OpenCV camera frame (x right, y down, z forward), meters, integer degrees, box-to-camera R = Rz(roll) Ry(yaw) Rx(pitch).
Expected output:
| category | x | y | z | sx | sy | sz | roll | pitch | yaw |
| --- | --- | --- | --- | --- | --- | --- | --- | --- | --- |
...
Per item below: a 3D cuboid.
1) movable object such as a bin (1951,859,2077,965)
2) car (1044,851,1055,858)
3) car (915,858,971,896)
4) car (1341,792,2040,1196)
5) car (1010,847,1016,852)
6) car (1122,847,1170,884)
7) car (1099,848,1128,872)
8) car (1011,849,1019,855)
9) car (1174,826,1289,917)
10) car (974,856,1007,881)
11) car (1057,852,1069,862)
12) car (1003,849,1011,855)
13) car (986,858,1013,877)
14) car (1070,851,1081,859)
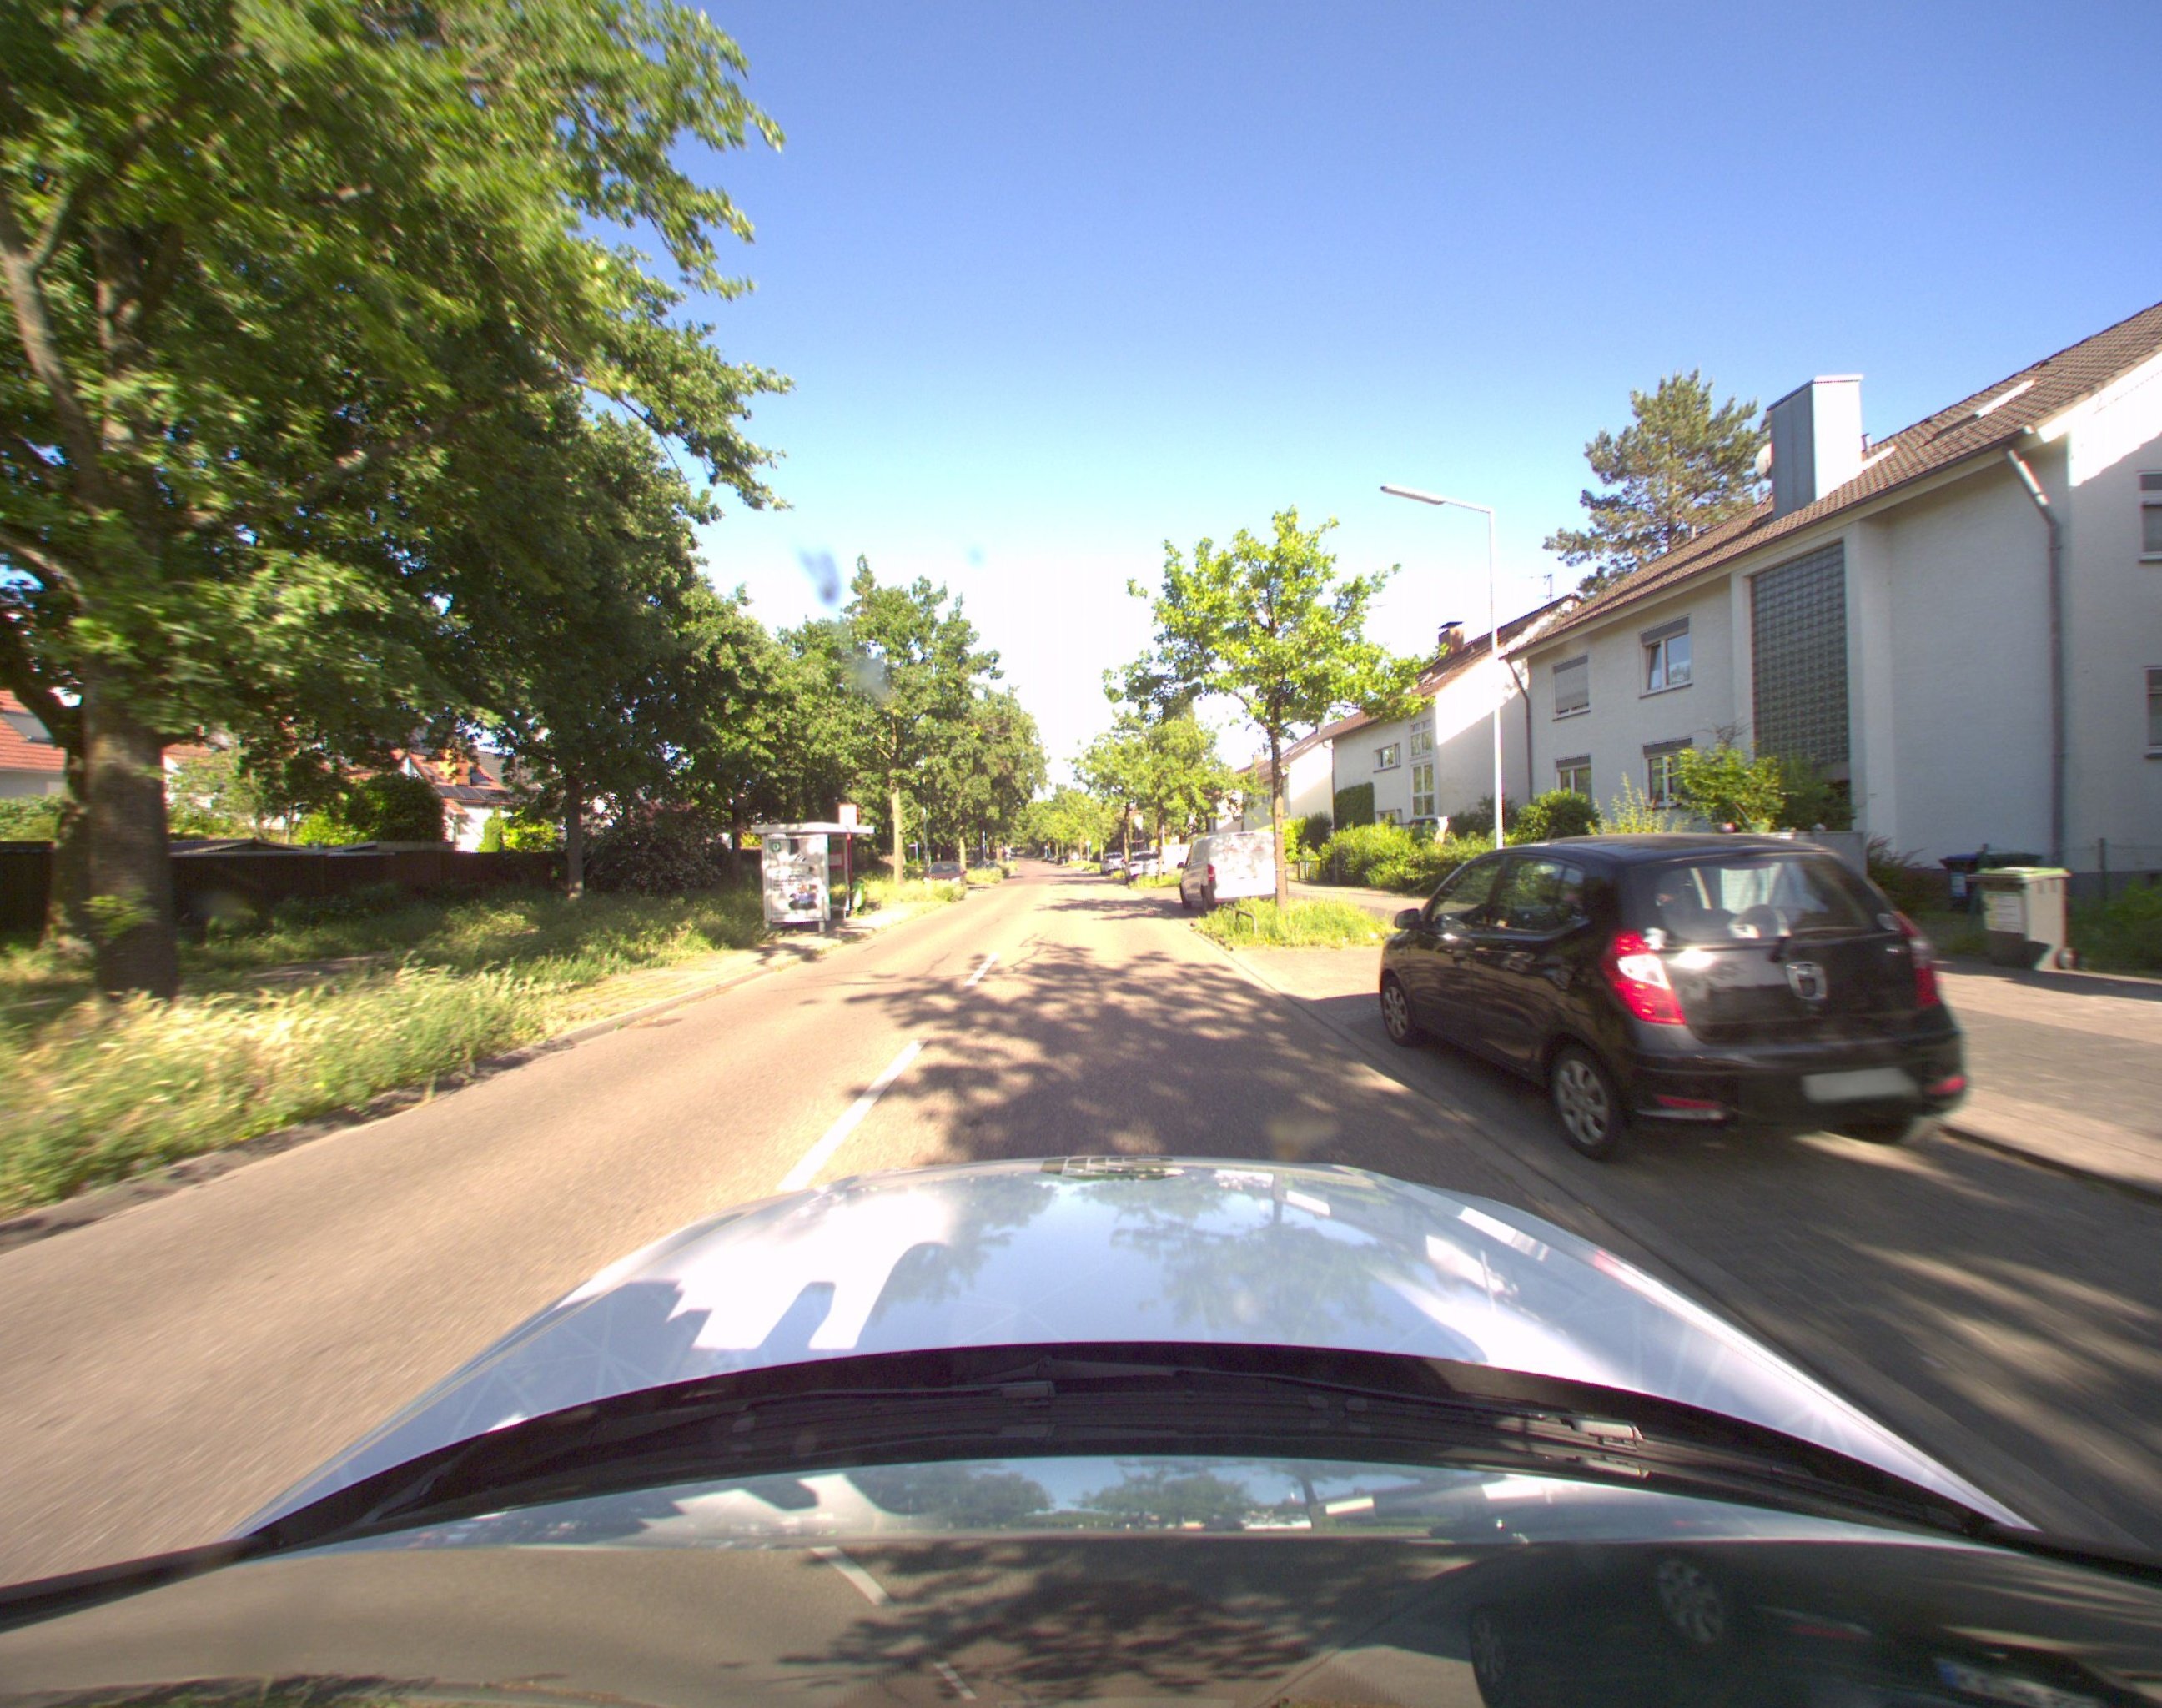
| category | x | y | z | sx | sy | sz | roll | pitch | yaw |
| --- | --- | --- | --- | --- | --- | --- | --- | --- | --- |
| movable object such as a bin | 8.751 | 0.527 | 7.655 | 0.527 | 0.932 | 0.549 | -2 | 0 | -1 |
| car | -6.220 | 0.114 | 160.698 | 1.929 | 1.454 | 3.996 | -2 | 0 | -3 |
| car | -5.974 | 0.980 | 35.766 | 1.931 | 1.479 | 3.995 | -2 | 0 | -3 |
| car | 3.149 | 0.574 | 5.276 | 1.667 | 1.578 | 3.751 | -4 | 0 | 0 |
| car | -20.191 | -1.406 | 242.362 | 1.751 | 1.454 | 3.996 | -2 | 0 | -3 |
| car | 3.188 | 0.544 | 40.723 | 1.930 | 1.704 | 3.997 | -2 | 0 | -2 |
| car | 2.488 | 0.445 | 63.275 | 1.928 | 1.742 | 3.997 | -2 | 0 | -2 |
| car | -18.433 | -0.513 | 226.541 | 1.929 | 1.454 | 3.996 | -2 | 0 | -3 |
| car | 3.636 | 0.393 | 20.572 | 1.831 | 1.971 | 4.755 | -2 | 0 | -2 |
| car | -6.090 | 0.931 | 55.031 | 1.990 | 1.556 | 3.994 | -1 | 0 | -4 |
| car | -2.943 | 0.550 | 132.196 | 1.928 | 1.542 | 3.997 | -2 | 0 | -2 |
| car | -18.293 | -0.543 | 201.768 | 1.929 | 1.454 | 3.996 | -2 | 0 | -3 |
| car | -6.674 | 1.074 | 67.023 | 1.791 | 1.479 | 3.518 | -2 | 0 | -1 |
| car | -1.158 | 0.112 | 158.414 | 1.929 | 1.454 | 3.996 | -2 | 0 | -3 |
